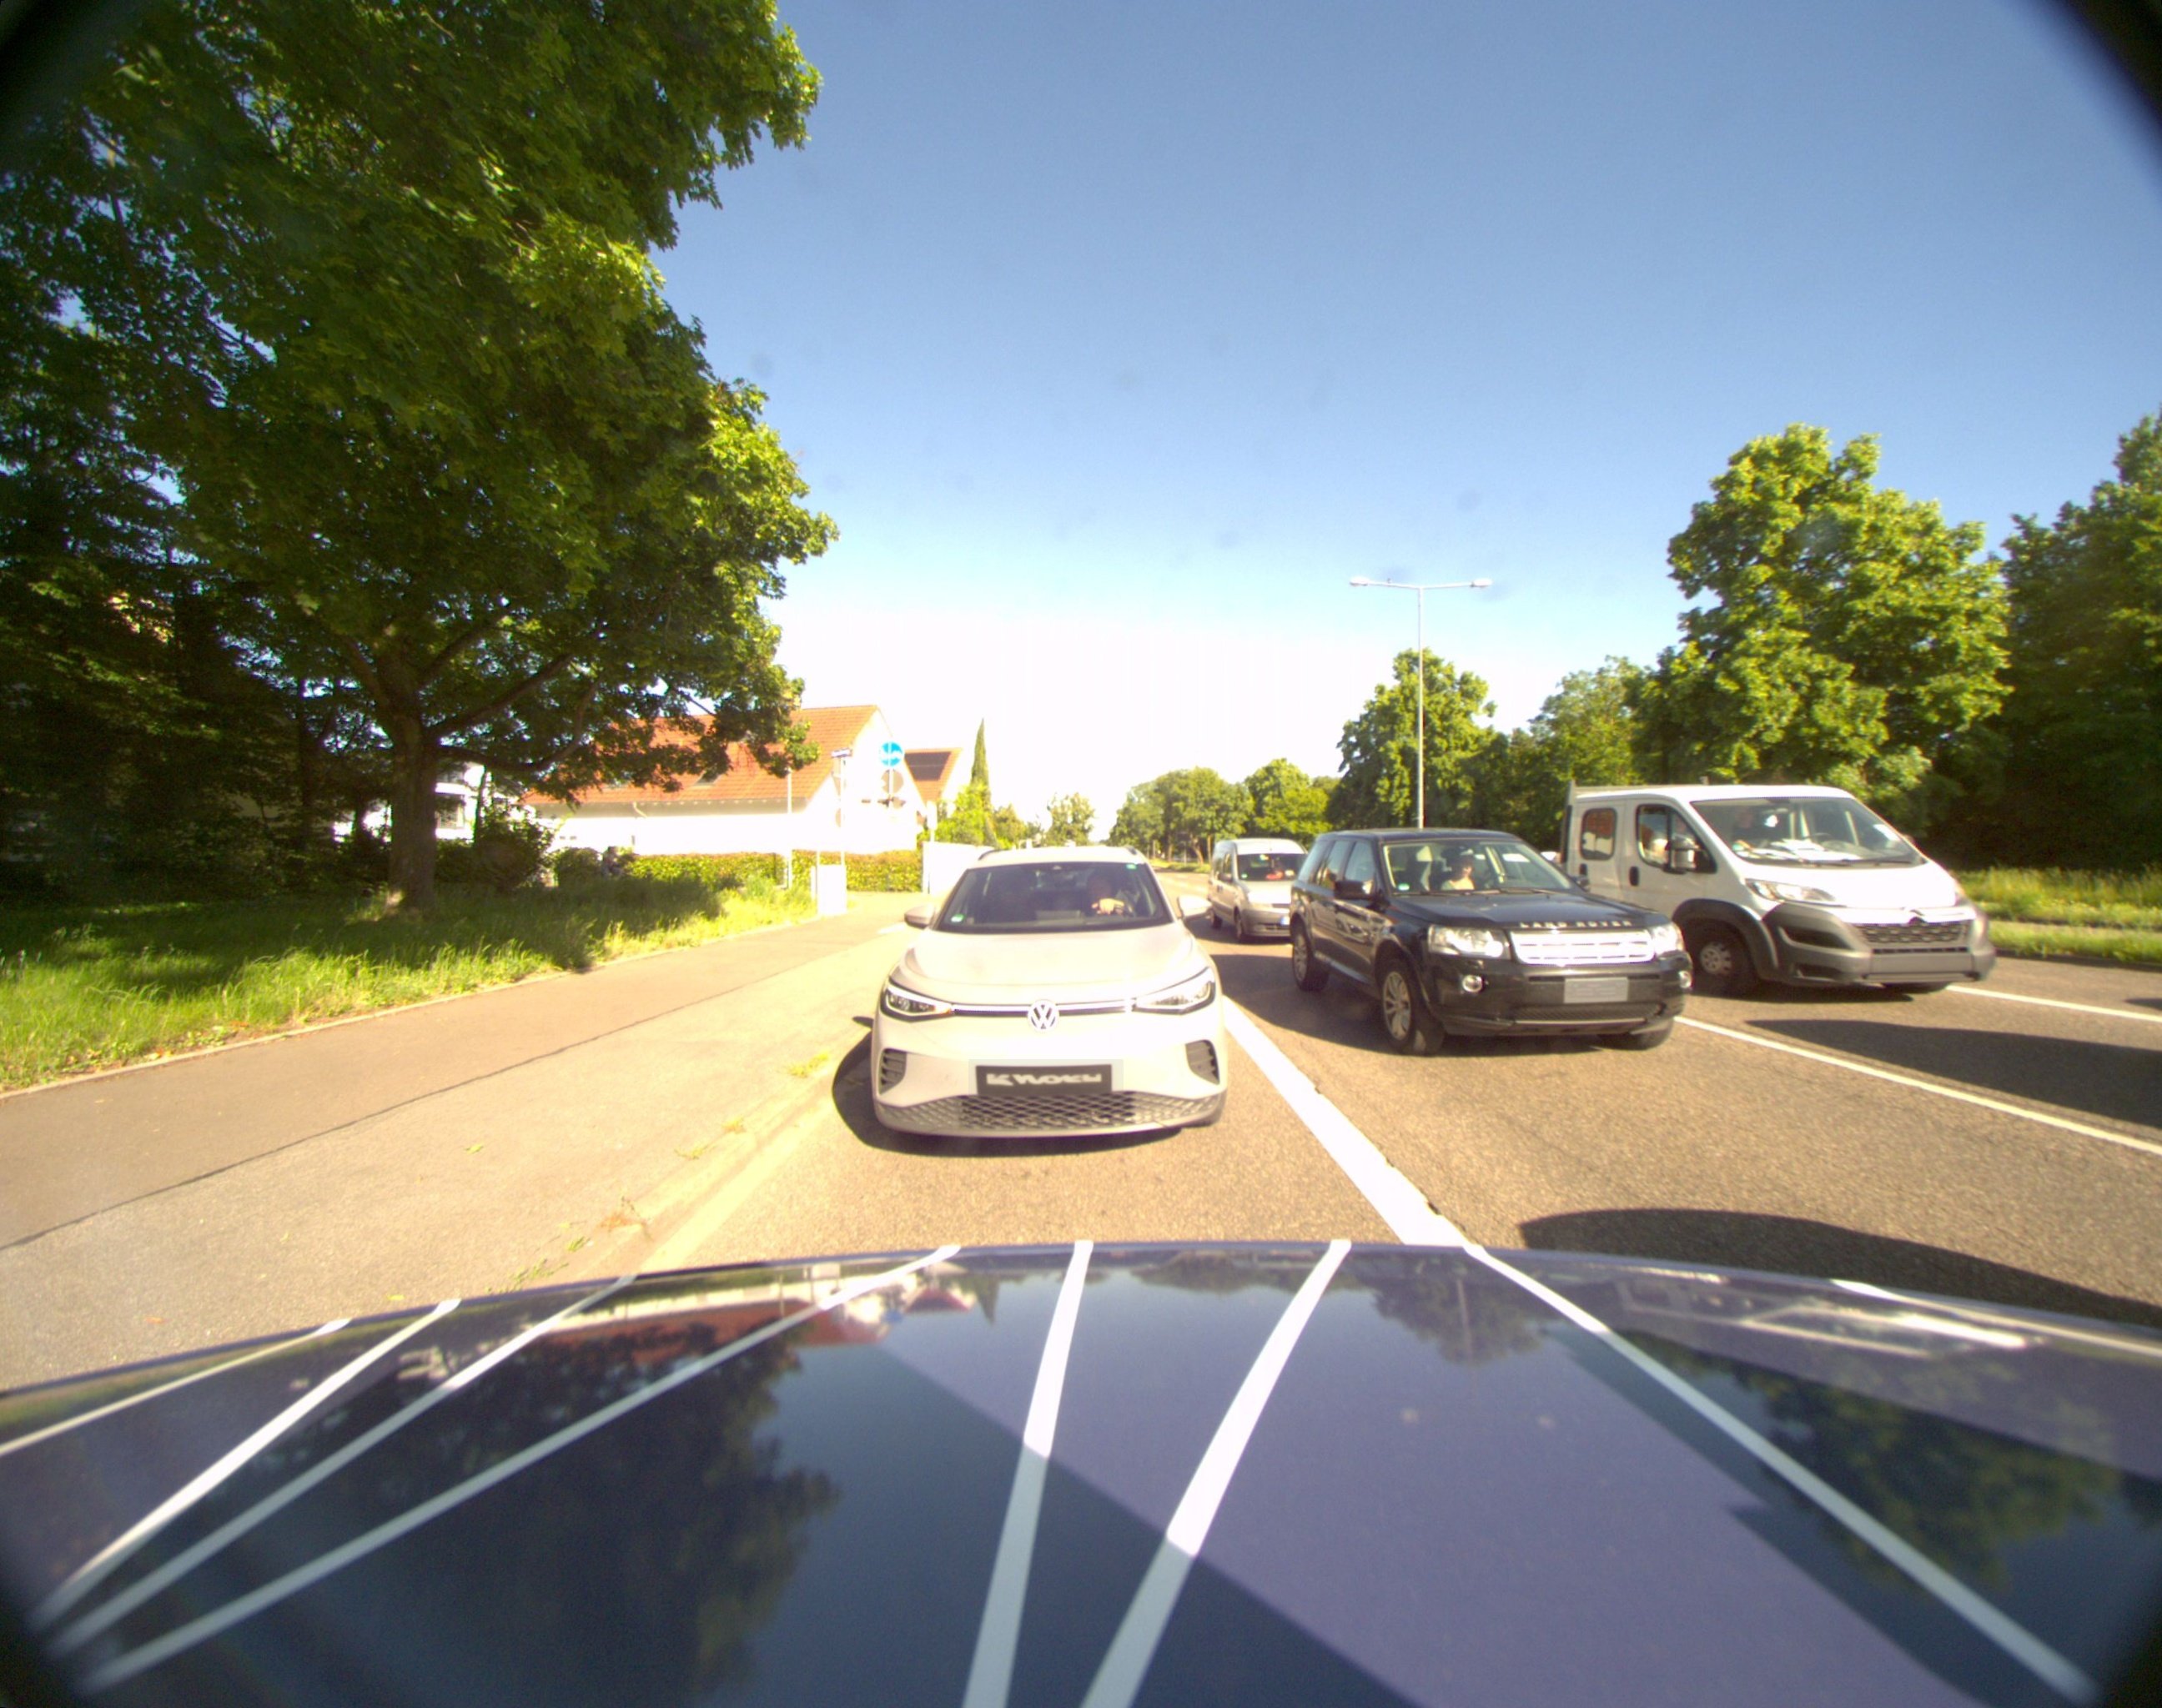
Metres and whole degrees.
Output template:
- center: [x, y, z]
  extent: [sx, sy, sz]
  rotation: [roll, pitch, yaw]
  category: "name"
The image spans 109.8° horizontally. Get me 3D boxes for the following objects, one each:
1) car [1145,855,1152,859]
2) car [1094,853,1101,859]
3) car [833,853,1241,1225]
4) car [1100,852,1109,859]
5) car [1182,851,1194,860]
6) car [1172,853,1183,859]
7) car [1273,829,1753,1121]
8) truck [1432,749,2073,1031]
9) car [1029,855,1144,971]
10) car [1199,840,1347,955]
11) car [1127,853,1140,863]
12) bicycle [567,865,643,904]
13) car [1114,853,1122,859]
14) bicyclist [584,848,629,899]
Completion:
- center: [21.667, 0.897, 244.403]
  extent: [1.792, 1.409, 4.000]
  rotation: [0, 0, 1]
  category: "car"
- center: [4.512, 0.566, 207.857]
  extent: [1.726, 1.630, 4.000]
  rotation: [0, 0, 1]
  category: "car"
- center: [-0.174, 0.845, 5.581]
  extent: [1.858, 1.679, 4.206]
  rotation: [0, 1, 1]
  category: "car"
- center: [4.631, 0.335, 149.893]
  extent: [1.704, 1.466, 3.931]
  rotation: [0, 0, 1]
  category: "car"
- center: [20.411, 0.363, 144.933]
  extent: [1.792, 1.674, 4.000]
  rotation: [0, 0, 1]
  category: "car"
- center: [20.707, 0.400, 163.414]
  extent: [1.792, 1.409, 4.000]
  rotation: [0, 0, 1]
  category: "car"
- center: [3.161, 0.711, 6.776]
  extent: [1.816, 1.721, 4.386]
  rotation: [-2, 1, 1]
  category: "car"
- center: [7.208, 0.266, 9.776]
  extent: [2.185, 2.307, 6.842]
  rotation: [-2, 1, 0]
  category: "truck"
- center: [0.104, 0.862, 13.024]
  extent: [1.632, 1.586, 4.024]
  rotation: [-2, 1, 1]
  category: "car"
- center: [3.320, 0.650, 13.971]
  extent: [1.632, 1.741, 4.386]
  rotation: [-2, 1, 1]
  category: "car"
- center: [7.726, 0.576, 111.745]
  extent: [1.704, 1.466, 3.931]
  rotation: [-1, 0, 0]
  category: "car"
- center: [-15.685, 0.997, 25.081]
  extent: [1.988, 1.091, 0.580]
  rotation: [6, 1, -7]
  category: "bicycle"
- center: [8.880, 0.514, 183.072]
  extent: [1.727, 1.436, 4.000]
  rotation: [0, 0, 0]
  category: "car"
- center: [-15.648, 0.633, 25.079]
  extent: [0.997, 1.572, 0.580]
  rotation: [6, 1, -7]
  category: "bicyclist"
